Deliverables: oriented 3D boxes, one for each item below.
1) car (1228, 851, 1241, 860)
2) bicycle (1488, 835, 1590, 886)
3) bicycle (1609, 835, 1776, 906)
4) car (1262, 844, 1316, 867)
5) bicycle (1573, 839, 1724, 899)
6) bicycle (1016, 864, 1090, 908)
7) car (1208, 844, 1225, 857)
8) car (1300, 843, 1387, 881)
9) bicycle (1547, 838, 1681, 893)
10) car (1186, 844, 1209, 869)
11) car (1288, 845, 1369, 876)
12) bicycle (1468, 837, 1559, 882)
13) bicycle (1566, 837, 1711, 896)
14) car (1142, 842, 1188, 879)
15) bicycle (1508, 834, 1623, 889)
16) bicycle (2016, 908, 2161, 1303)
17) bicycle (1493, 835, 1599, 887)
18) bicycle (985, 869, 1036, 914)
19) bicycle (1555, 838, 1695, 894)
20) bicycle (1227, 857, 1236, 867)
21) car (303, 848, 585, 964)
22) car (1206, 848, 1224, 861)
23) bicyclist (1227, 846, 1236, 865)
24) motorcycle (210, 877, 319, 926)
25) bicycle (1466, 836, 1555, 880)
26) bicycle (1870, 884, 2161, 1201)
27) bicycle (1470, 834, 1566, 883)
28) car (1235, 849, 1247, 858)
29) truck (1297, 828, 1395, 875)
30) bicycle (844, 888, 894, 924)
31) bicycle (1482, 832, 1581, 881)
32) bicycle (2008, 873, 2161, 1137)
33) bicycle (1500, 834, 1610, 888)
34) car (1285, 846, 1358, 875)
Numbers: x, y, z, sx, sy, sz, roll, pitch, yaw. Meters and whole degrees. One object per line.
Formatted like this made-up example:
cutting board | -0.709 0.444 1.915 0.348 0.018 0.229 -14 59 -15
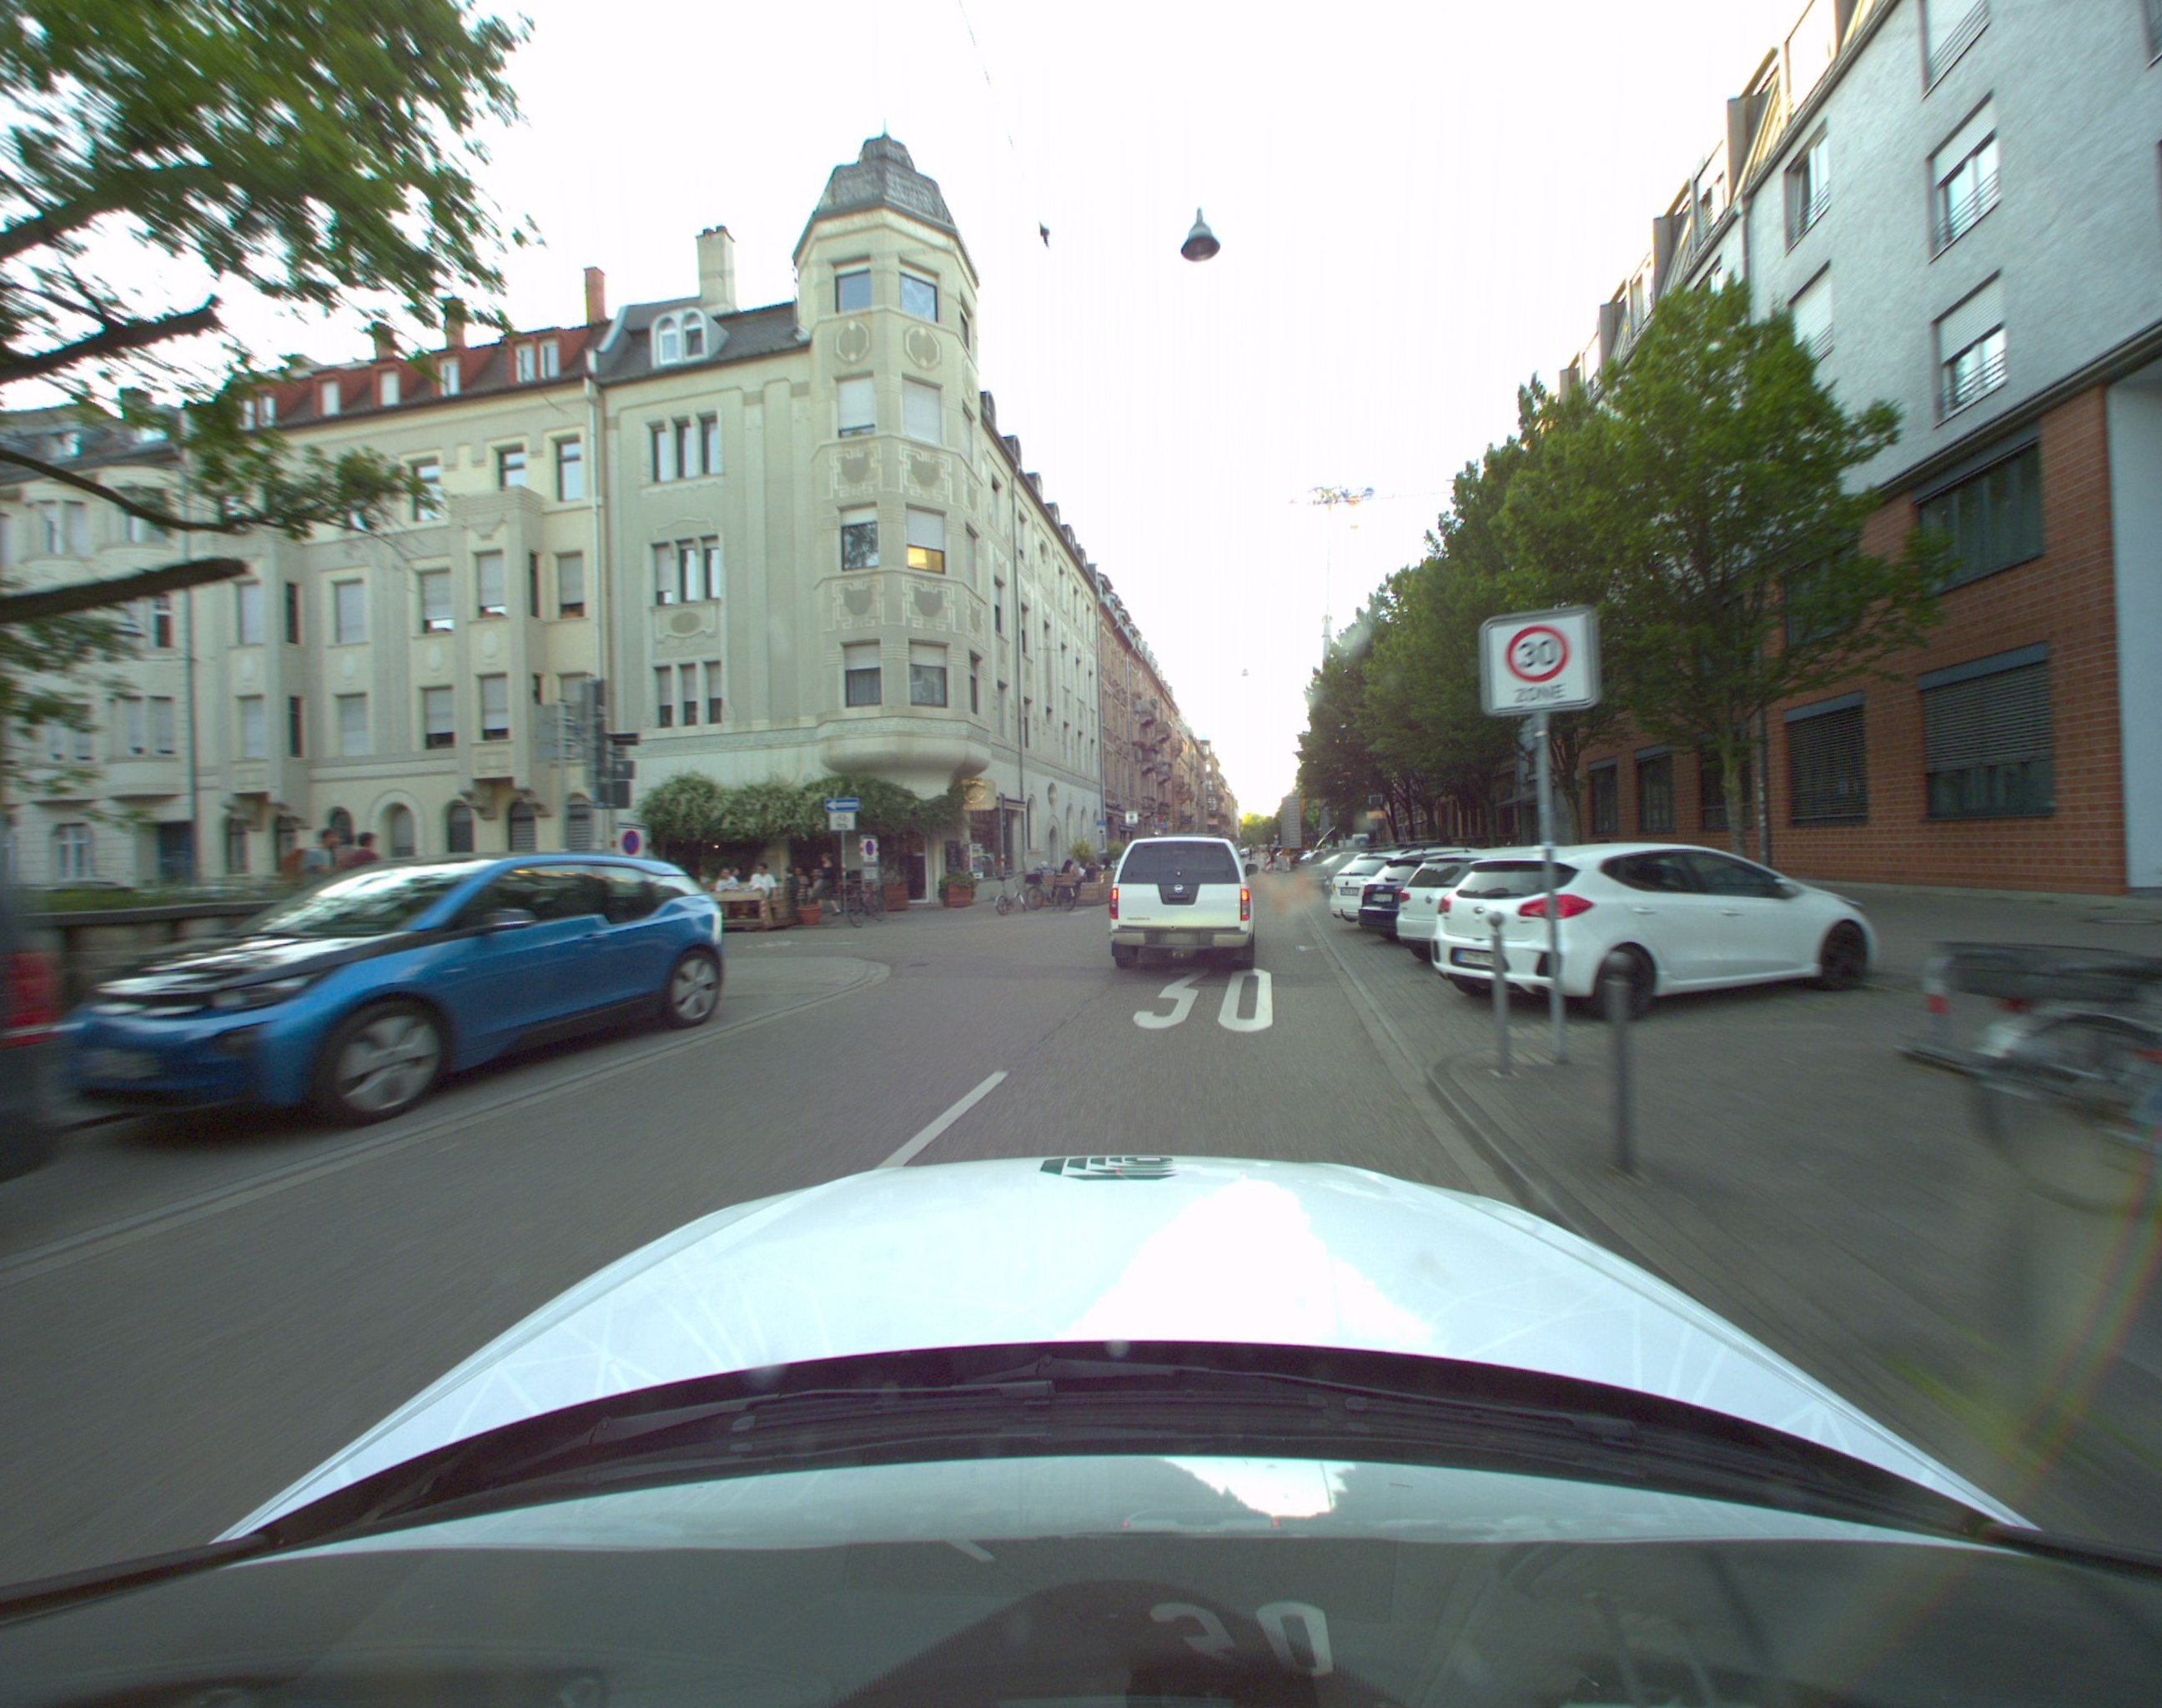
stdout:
car | 27.428 0.260 145.207 1.833 1.552 4.373 -2 0 15
bicycle | 13.392 0.195 23.880 2.516 1.379 0.602 -2 0 15
bicycle | 11.331 0.310 15.169 2.329 1.099 0.683 -5 -1 15
car | 17.114 0.118 66.992 4.161 1.780 1.828 -1 0 18
bicycle | 11.815 0.312 17.039 2.516 1.166 0.564 -2 0 15
bicycle | -0.764 0.835 21.514 2.089 1.094 0.504 -1 1 37
car | 16.475 -0.473 98.985 1.698 1.530 4.014 -1 0 13
car | 12.027 0.355 37.351 3.406 1.474 1.763 -3 1 -19
bicycle | 12.249 0.266 18.782 2.516 1.166 0.564 -2 0 15
car | 9.335 0.170 64.877 1.549 1.921 3.869 0 0 12
car | 13.158 0.335 43.350 3.840 1.436 1.749 -3 0 -22
bicycle | 14.079 0.174 26.568 2.516 1.379 0.602 -2 0 15
bicycle | 12.000 0.272 17.616 2.516 1.166 0.564 -2 0 15
car | 4.777 0.337 45.786 1.891 1.925 4.965 -1 0 13
bicycle | 12.886 0.203 21.729 2.516 1.379 0.602 -2 0 15
bicycle | 3.938 0.670 2.257 1.845 1.066 0.447 -4 -1 11
bicycle | 13.206 0.195 23.189 2.516 1.379 0.602 -2 0 15
bicycle | -1.783 0.925 20.759 0.419 1.012 1.729 -1 1 26
bicycle | 12.100 0.274 18.187 2.516 1.166 0.564 -2 0 15
bicycle | 14.867 0.823 80.431 0.795 0.947 2.011 -1 0 11
car | -11.221 0.888 14.427 3.957 1.844 1.899 -2 0 16
car | 15.408 0.043 93.287 1.779 1.530 4.014 -1 0 13
bicyclist | 14.843 0.165 80.373 0.795 1.849 0.946 -1 0 10
motorcycle | -26.624 1.552 26.552 3.375 1.494 0.821 -2 0 13
bicycle | 14.360 0.153 27.283 2.516 1.379 0.602 -2 0 15
bicycle | 4.182 0.655 2.998 1.845 1.066 0.447 -4 -1 11
bicycle | 13.888 0.157 25.937 2.516 1.244 0.602 -7 -2 15
car | 31.526 -0.079 160.525 1.833 1.552 4.374 -2 0 16
truck | 18.118 -0.119 56.034 6.275 2.977 2.272 -1 -3 14
bicycle | -5.103 1.242 19.699 0.420 0.695 1.785 -2 2 10
bicycle | 13.541 0.084 24.542 2.516 1.379 0.602 -2 0 15
bicycle | 5.422 0.599 3.522 1.899 1.066 0.526 -4 -1 11
bicycle | 13.019 0.200 22.434 2.516 1.379 0.602 -2 0 15
car | 13.519 0.369 45.825 3.902 1.530 1.623 -1 0 -27
